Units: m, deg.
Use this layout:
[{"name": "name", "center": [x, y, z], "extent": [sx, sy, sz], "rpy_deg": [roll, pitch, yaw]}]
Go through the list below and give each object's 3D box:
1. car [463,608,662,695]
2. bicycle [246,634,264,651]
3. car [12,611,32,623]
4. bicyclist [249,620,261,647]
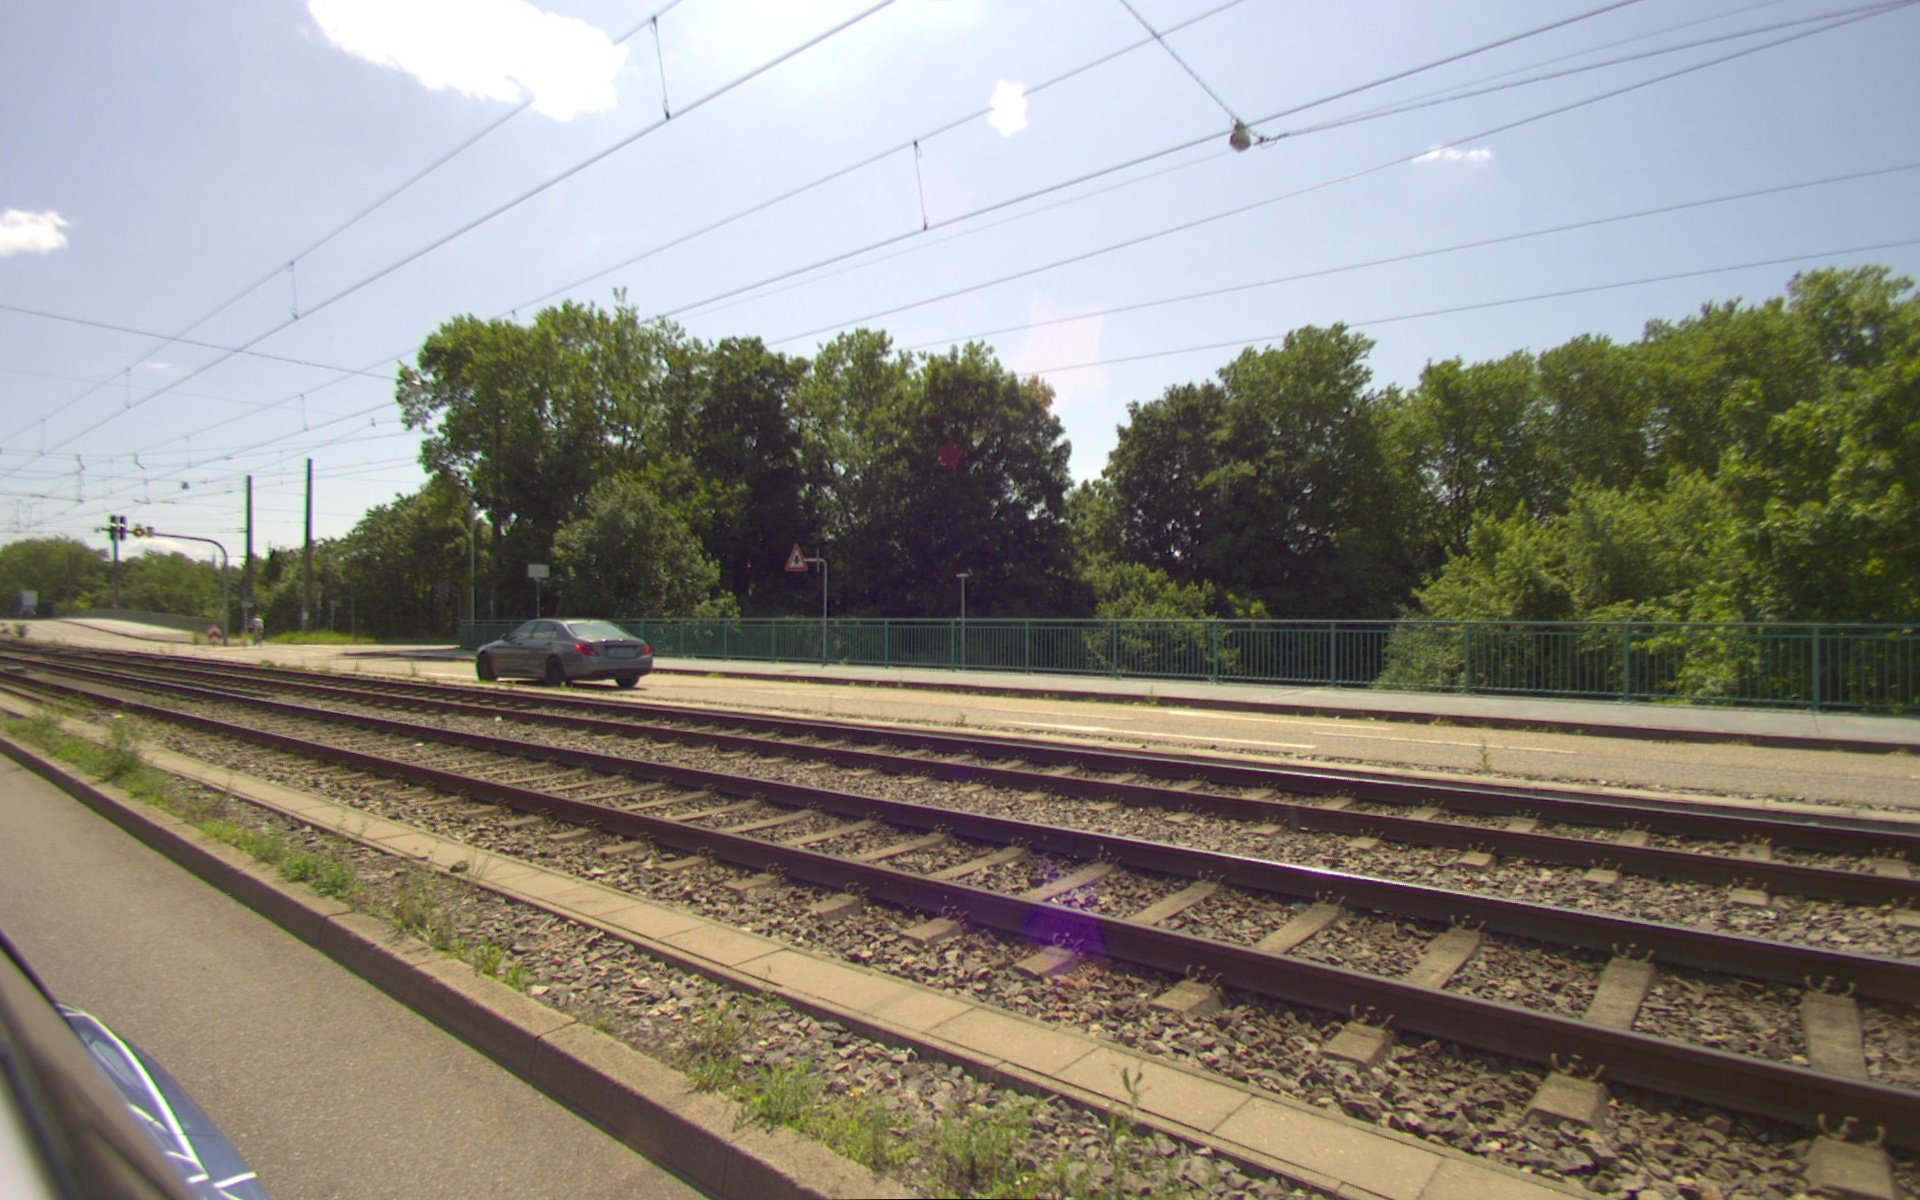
[{"name": "car", "center": [-8.977, 1.051, 22.608], "extent": [5.326, 1.733, 1.856], "rpy_deg": [-1, -1, 40]}, {"name": "bicycle", "center": [-39.737, 2.398, 57.054], "extent": [1.743, 0.875, 0.463], "rpy_deg": [-1, -1, 43]}, {"name": "car", "center": [-121.679, 2.210, 131.240], "extent": [3.735, 1.521, 1.685], "rpy_deg": [-1, -2, 45]}, {"name": "bicyclist", "center": [-39.766, 1.877, 57.081], "extent": [0.633, 1.485, 0.451], "rpy_deg": [-1, -1, 43]}]
